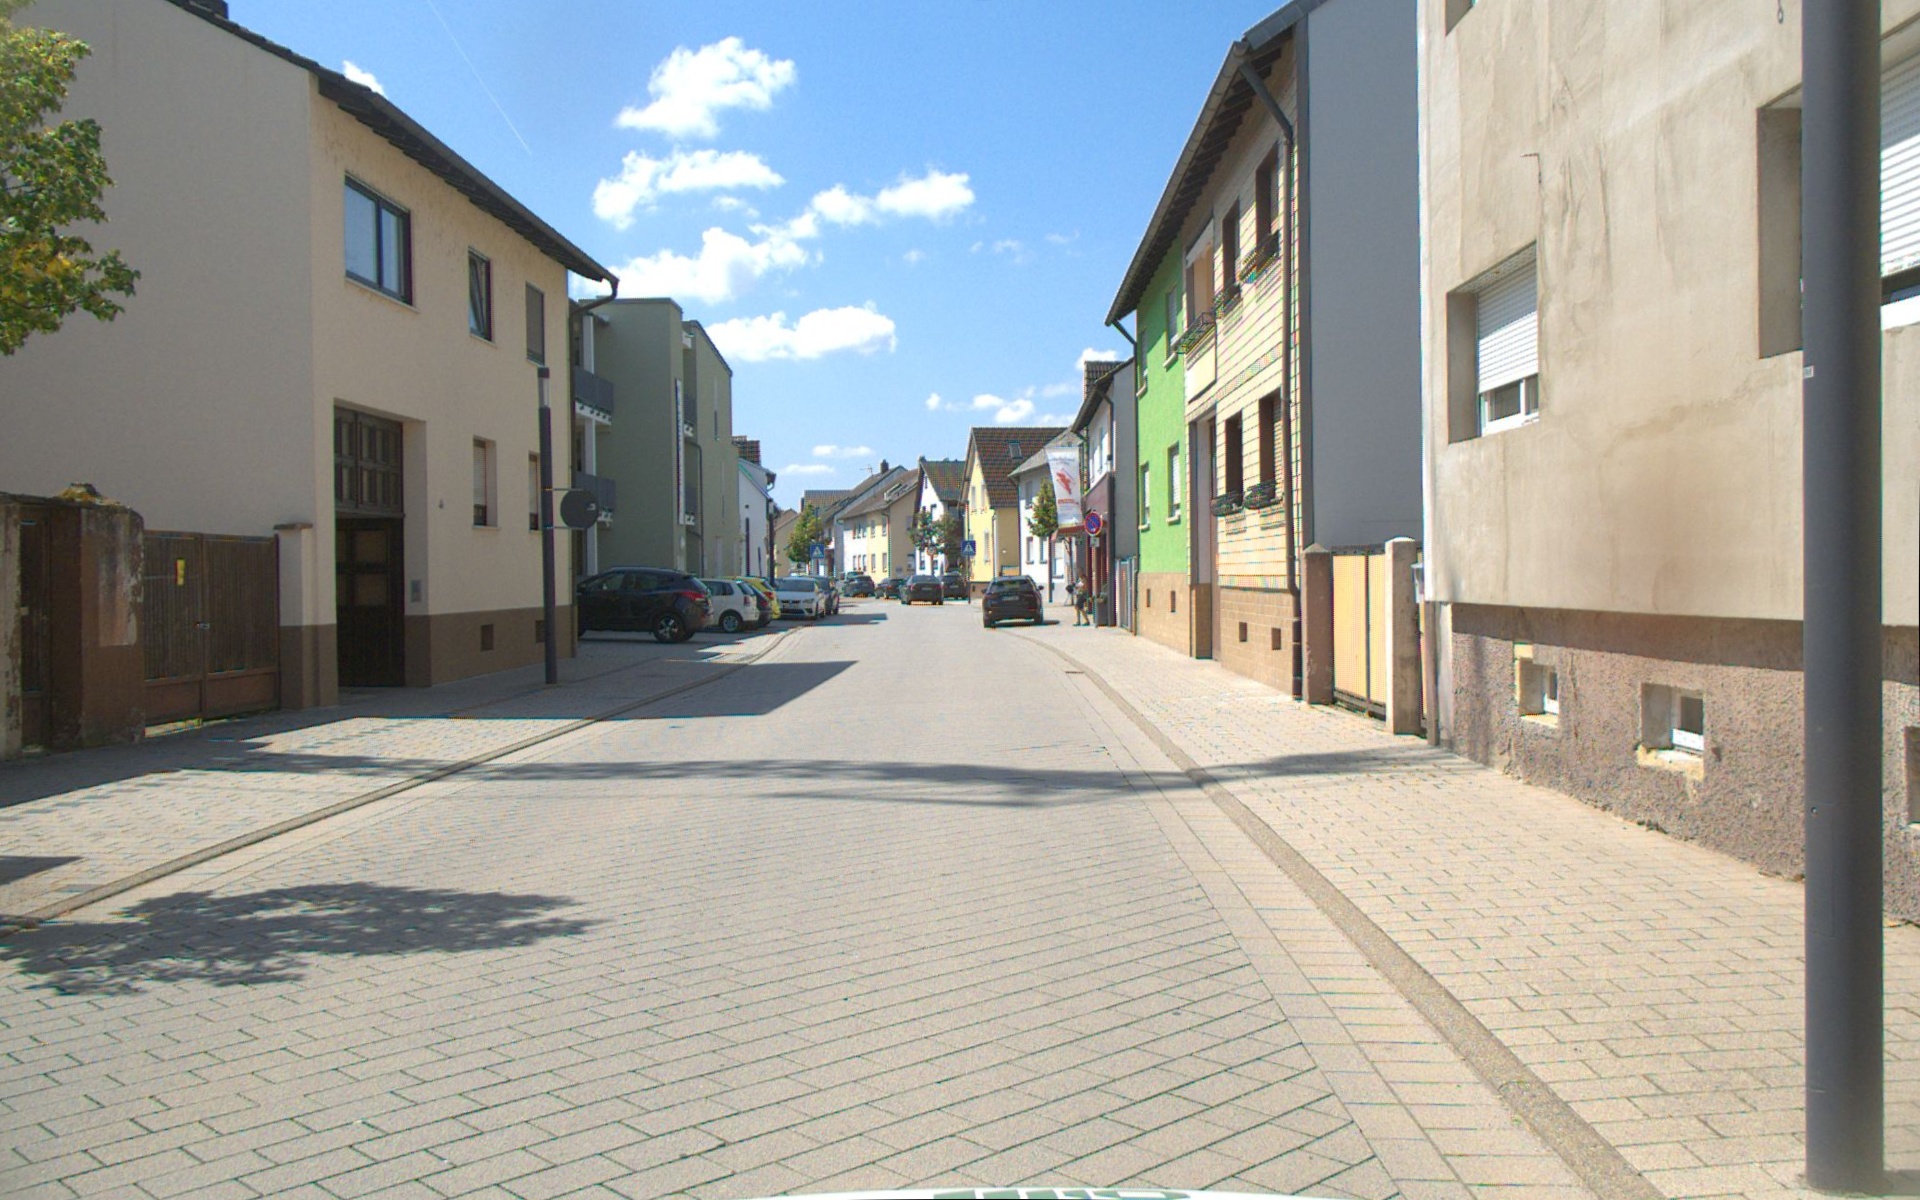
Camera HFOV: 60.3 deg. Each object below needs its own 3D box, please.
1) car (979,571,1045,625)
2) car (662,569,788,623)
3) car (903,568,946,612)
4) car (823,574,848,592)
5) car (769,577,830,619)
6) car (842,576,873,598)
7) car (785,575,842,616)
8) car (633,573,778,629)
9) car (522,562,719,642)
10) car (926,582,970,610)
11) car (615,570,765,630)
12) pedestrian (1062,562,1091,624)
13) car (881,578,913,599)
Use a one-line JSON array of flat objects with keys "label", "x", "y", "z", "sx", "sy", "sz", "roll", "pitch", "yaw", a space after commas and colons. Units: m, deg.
[{"label": "car", "x": 1.628, "y": -0.102, "z": 50.342, "sx": 1.819, "sy": 1.484, "sz": 4.588, "roll": -3, "pitch": 1, "yaw": 4}, {"label": "car", "x": -7.255, "y": -0.125, "z": 51.292, "sx": 3.615, "sy": 1.552, "sz": 1.673, "roll": 2, "pitch": 1, "yaw": 1}, {"label": "car", "x": -1.767, "y": -0.528, "z": 81.872, "sx": 1.954, "sy": 2.093, "sz": 4.371, "roll": -1, "pitch": 1, "yaw": -3}, {"label": "car", "x": -10.714, "y": -1.484, "z": 142.315, "sx": 1.723, "sy": 1.519, "sz": 3.990, "roll": -1, "pitch": 1, "yaw": -11}, {"label": "car", "x": -5.728, "y": -0.103, "z": 59.432, "sx": 1.721, "sy": 1.435, "sz": 3.878, "roll": 1, "pitch": 1, "yaw": 1}, {"label": "car", "x": -7.911, "y": -0.989, "z": 127.710, "sx": 1.844, "sy": 1.619, "sz": 3.990, "roll": -1, "pitch": 1, "yaw": -11}, {"label": "car", "x": -5.758, "y": -0.204, "z": 65.459, "sx": 1.776, "sy": 1.516, "sz": 4.278, "roll": 1, "pitch": 1, "yaw": 1}, {"label": "car", "x": -7.409, "y": 0.005, "z": 48.347, "sx": 3.905, "sy": 1.467, "sz": 1.691, "roll": 2, "pitch": 1, "yaw": 1}, {"label": "car", "x": -7.774, "y": 0.033, "z": 38.174, "sx": 4.132, "sy": 1.687, "sz": 1.784, "roll": 1, "pitch": 1, "yaw": 0}, {"label": "car", "x": -0.717, "y": -0.224, "z": 97.306, "sx": 1.796, "sy": 1.497, "sz": 4.265, "roll": -3, "pitch": 1, "yaw": -11}, {"label": "car", "x": -7.483, "y": -0.016, "z": 46.067, "sx": 3.820, "sy": 1.528, "sz": 1.751, "roll": 2, "pitch": 1, "yaw": 2}, {"label": "pedestrian", "x": 3.238, "y": -0.203, "z": 45.970, "sx": 0.714, "sy": 1.668, "sz": 0.749, "roll": -4, "pitch": 0, "yaw": 4}, {"label": "car", "x": -4.355, "y": -0.820, "z": 114.304, "sx": 1.680, "sy": 1.411, "sz": 3.696, "roll": -1, "pitch": 1, "yaw": -11}]
